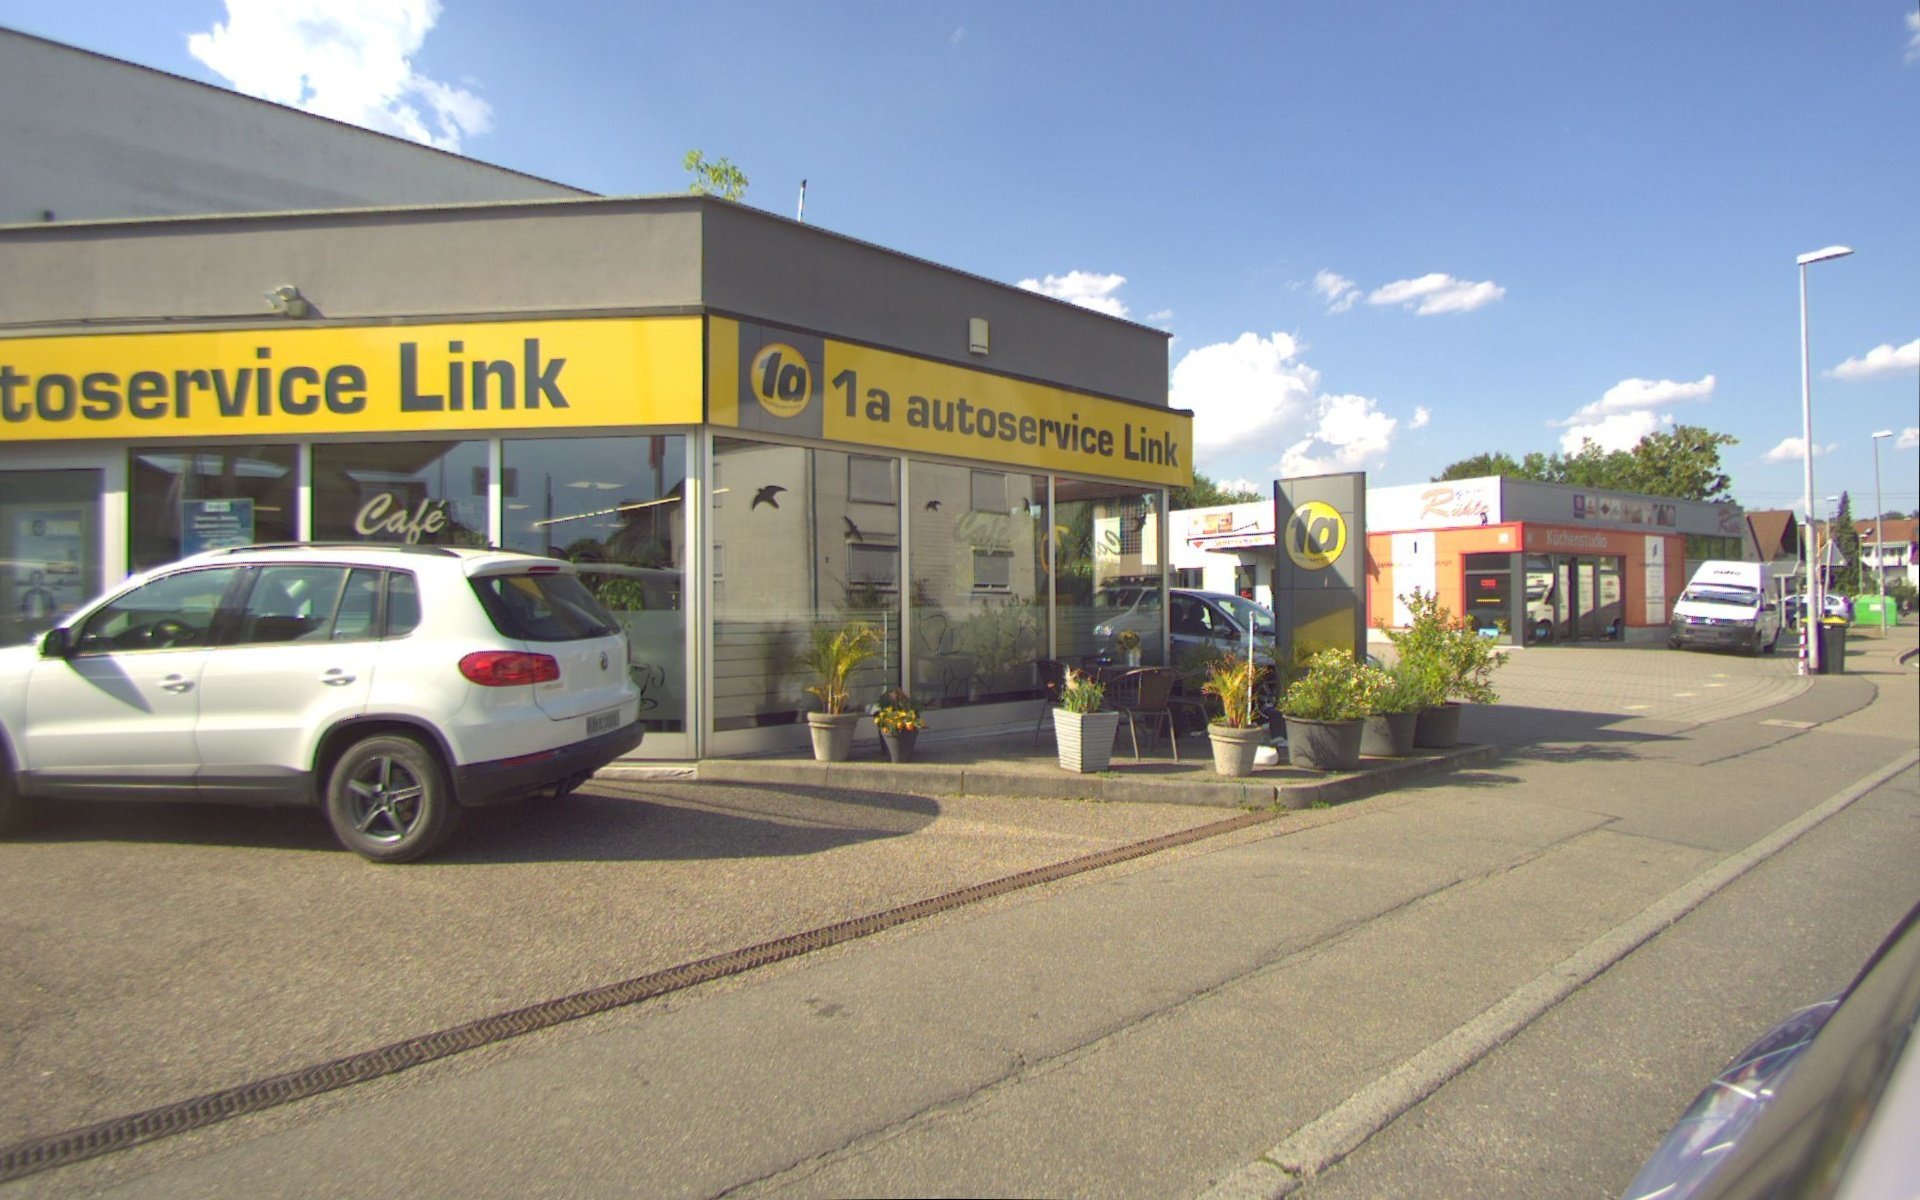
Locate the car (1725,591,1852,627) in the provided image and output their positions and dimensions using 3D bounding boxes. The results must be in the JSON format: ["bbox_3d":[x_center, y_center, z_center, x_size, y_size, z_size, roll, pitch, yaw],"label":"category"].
[{"bbox_3d":[36.341,0.350,44.468,1.596,1.434,4.075,-1,2,-38],"label":"car"}]

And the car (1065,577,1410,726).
[{"bbox_3d":[3.263,0.525,12.557,1.500,1.551,3.994,0,0,-40],"label":"car"}]

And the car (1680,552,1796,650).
[{"bbox_3d":[21.020,-0.033,27.258,1.837,2.404,5.095,2,2,45],"label":"car"}]

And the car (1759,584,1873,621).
[{"bbox_3d":[40.829,0.104,48.316,1.653,1.623,3.946,-2,1,-40],"label":"car"}]

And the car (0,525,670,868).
[{"bbox_3d":[-4.008,0.443,6.118,4.007,1.695,1.674,1,1,7],"label":"car"}]

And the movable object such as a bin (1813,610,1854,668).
[{"bbox_3d":[17.053,0.745,19.762,0.567,1.088,0.563,0,0,44],"label":"movable object such as a bin"}]

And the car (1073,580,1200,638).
[{"bbox_3d":[5.286,0.254,30.628,1.611,1.615,3.641,-2,1,-38],"label":"car"}]

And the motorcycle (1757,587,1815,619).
[{"bbox_3d":[35.096,0.109,43.020,1.817,1.341,0.633,1,1,32],"label":"motorcycle"}]
